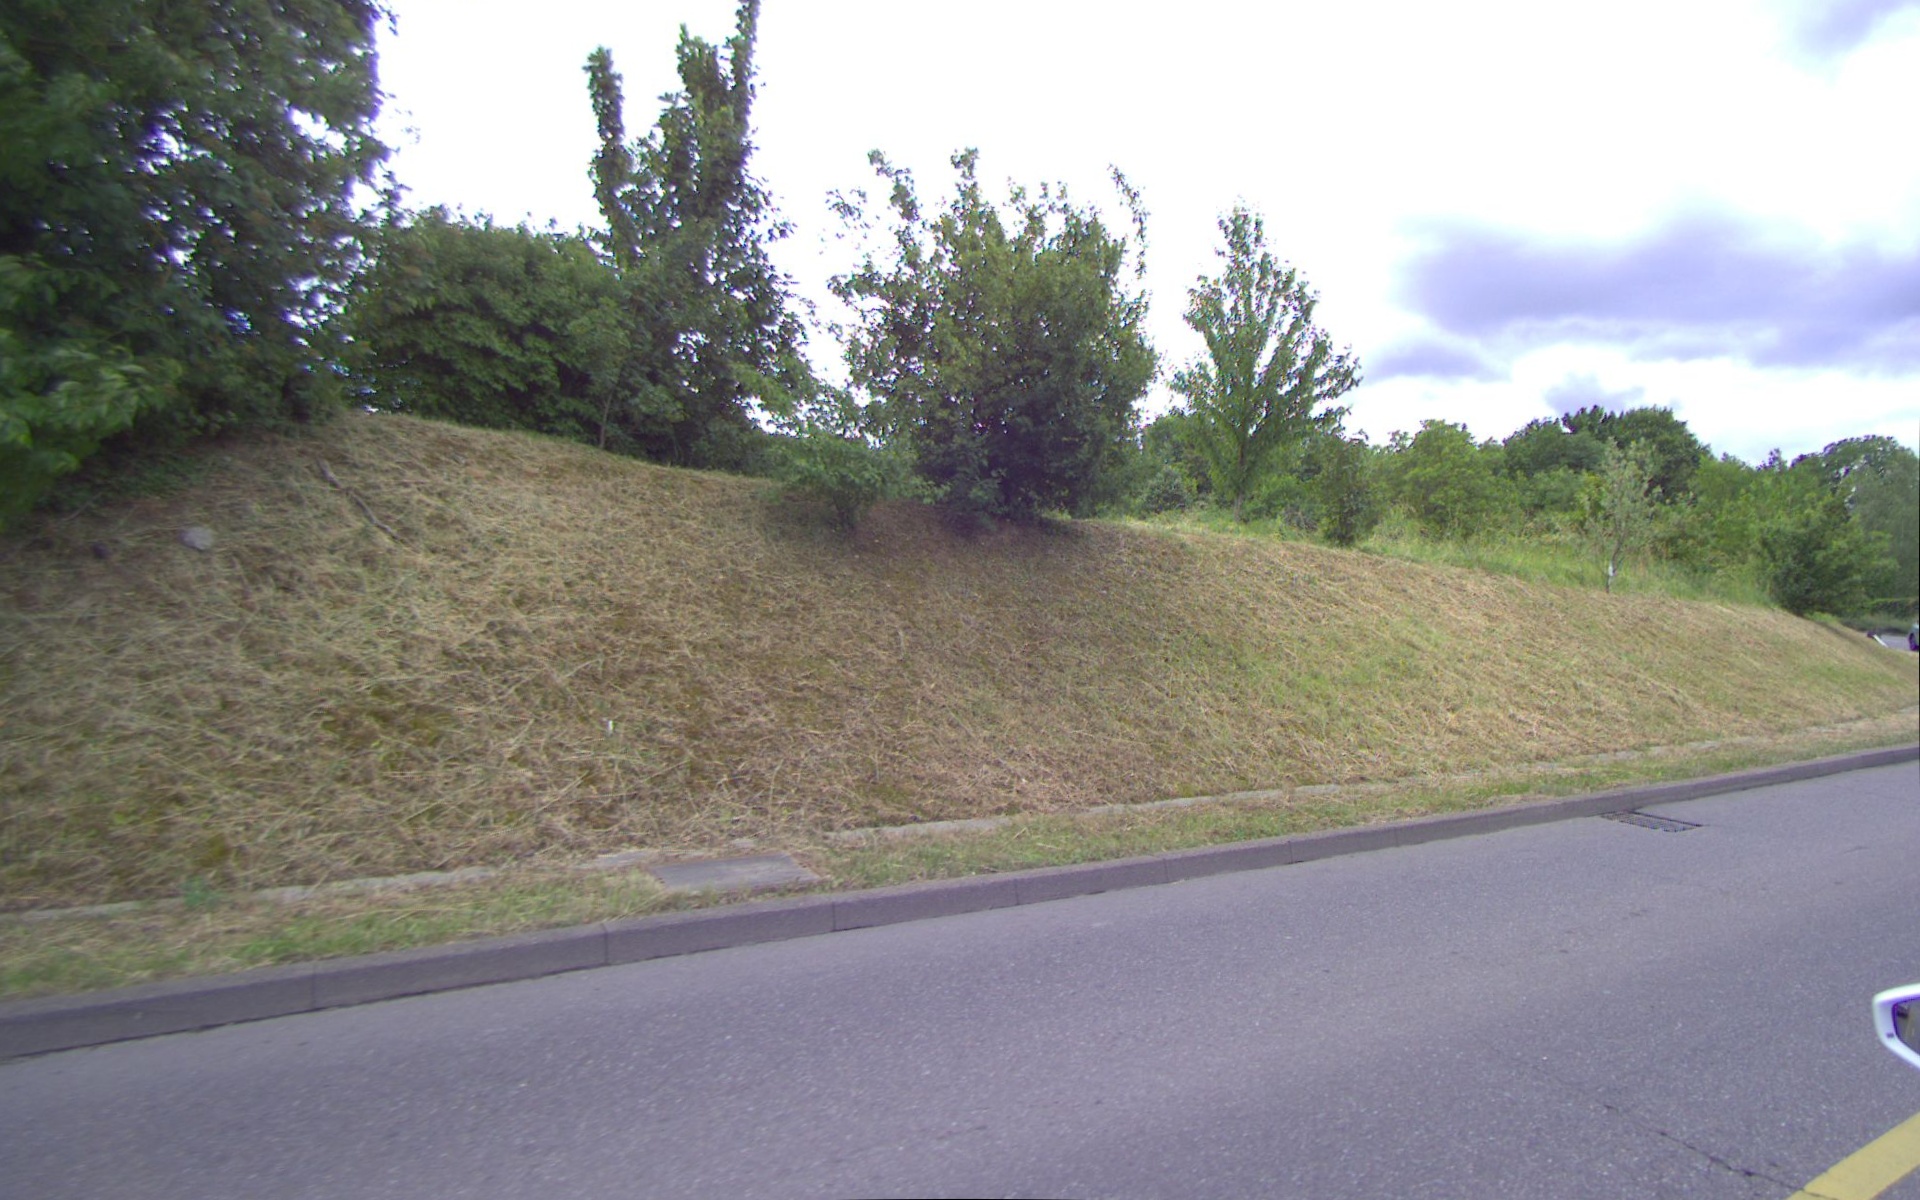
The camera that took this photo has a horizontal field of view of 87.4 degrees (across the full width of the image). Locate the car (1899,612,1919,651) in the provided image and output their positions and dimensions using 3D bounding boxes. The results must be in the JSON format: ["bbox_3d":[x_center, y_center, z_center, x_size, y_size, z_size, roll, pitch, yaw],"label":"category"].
[{"bbox_3d":[38.835,1.263,39.330,1.853,1.497,4.595,0,0,28],"label":"car"}]
